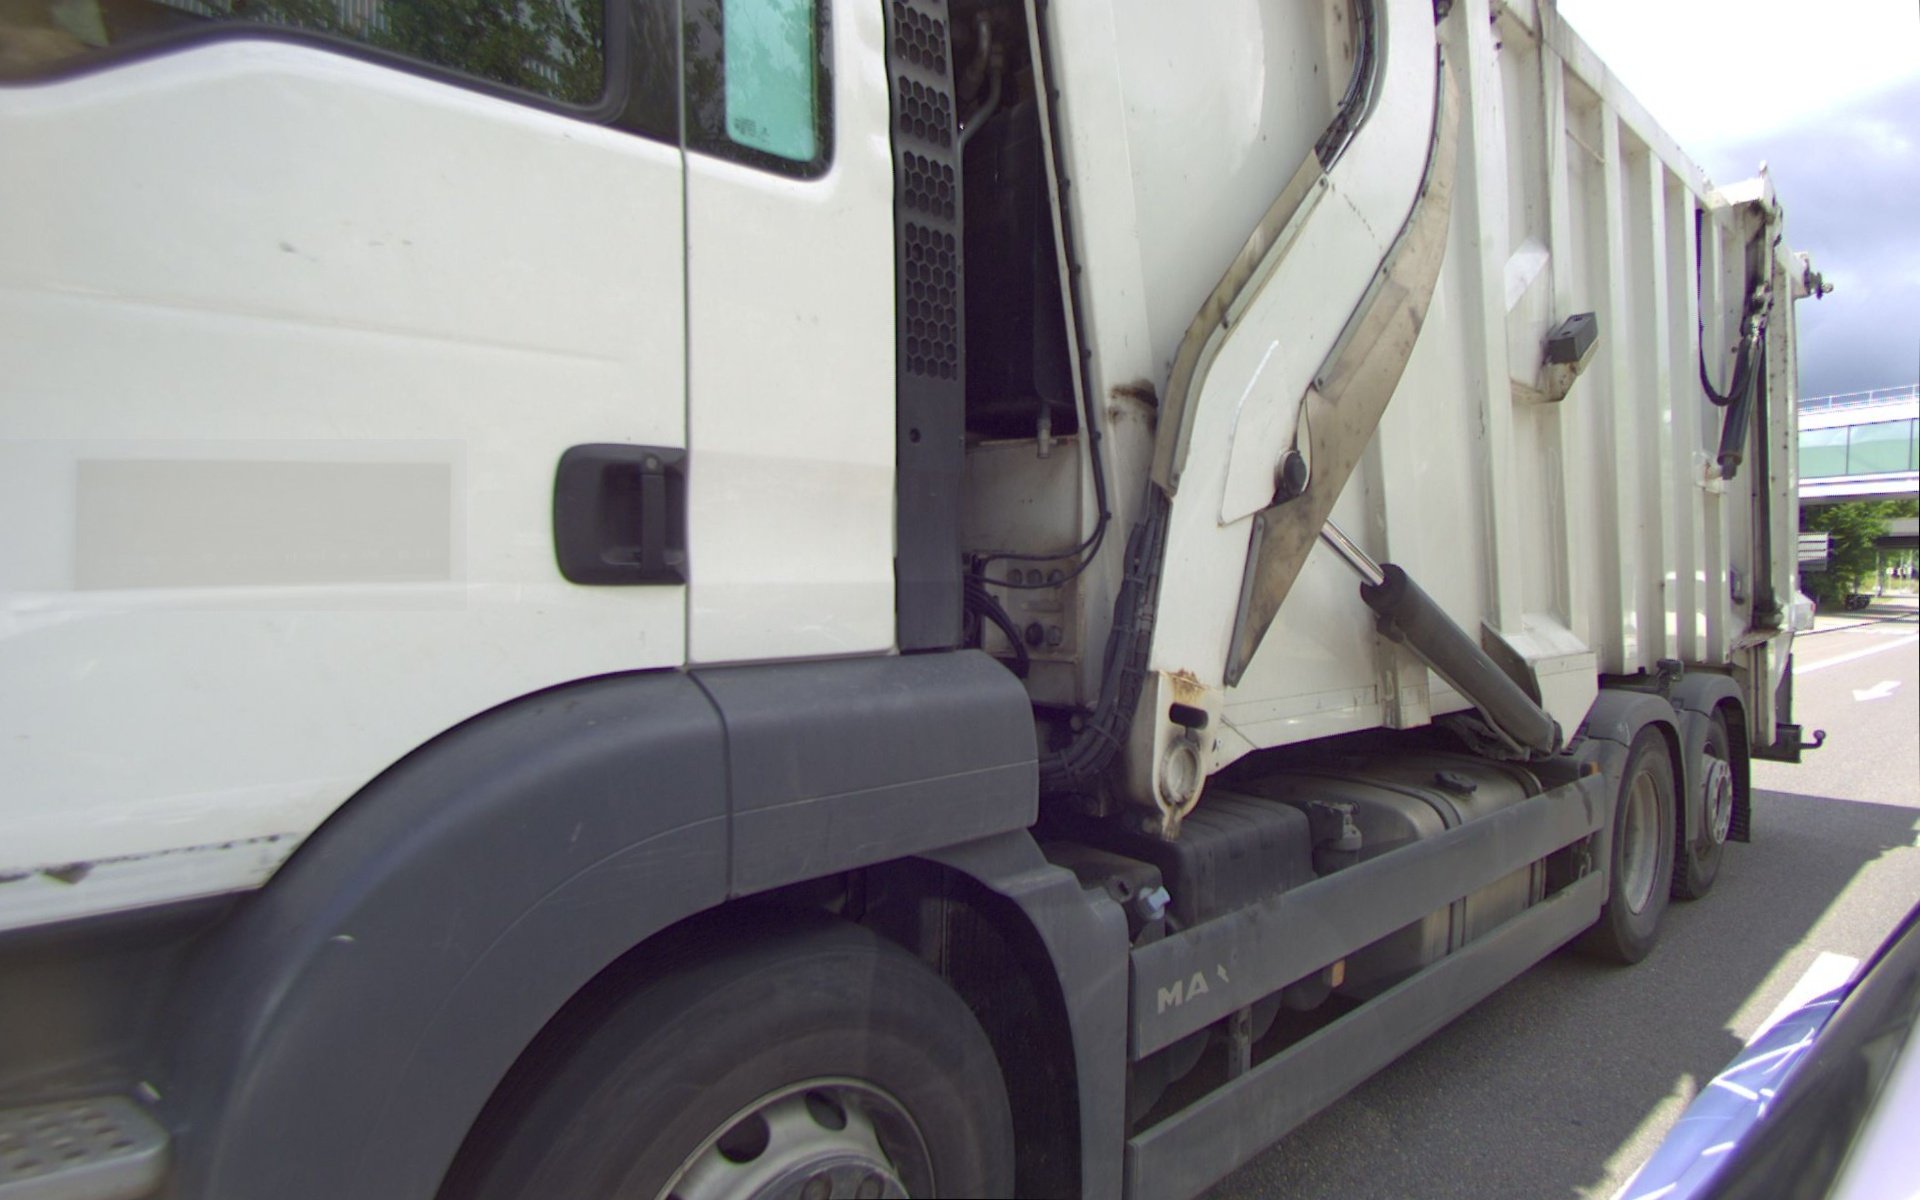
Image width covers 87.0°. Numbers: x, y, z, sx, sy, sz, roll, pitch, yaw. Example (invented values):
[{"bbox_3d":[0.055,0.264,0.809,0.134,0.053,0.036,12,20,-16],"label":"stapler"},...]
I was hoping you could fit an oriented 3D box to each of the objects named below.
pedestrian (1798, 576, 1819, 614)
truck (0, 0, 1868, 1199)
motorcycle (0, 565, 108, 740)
[{"bbox_3d":[44.526,-0.259,53.094,0.647,1.936,0.738,0,0,-42],"label":"pedestrian"},{"bbox_3d":[1.791,-0.628,4.657,9.999,3.962,2.492,-1,0,-42],"label":"truck"},{"bbox_3d":[-7.435,0.373,7.290,1.978,1.238,0.688,-1,3,-41],"label":"motorcycle"}]
